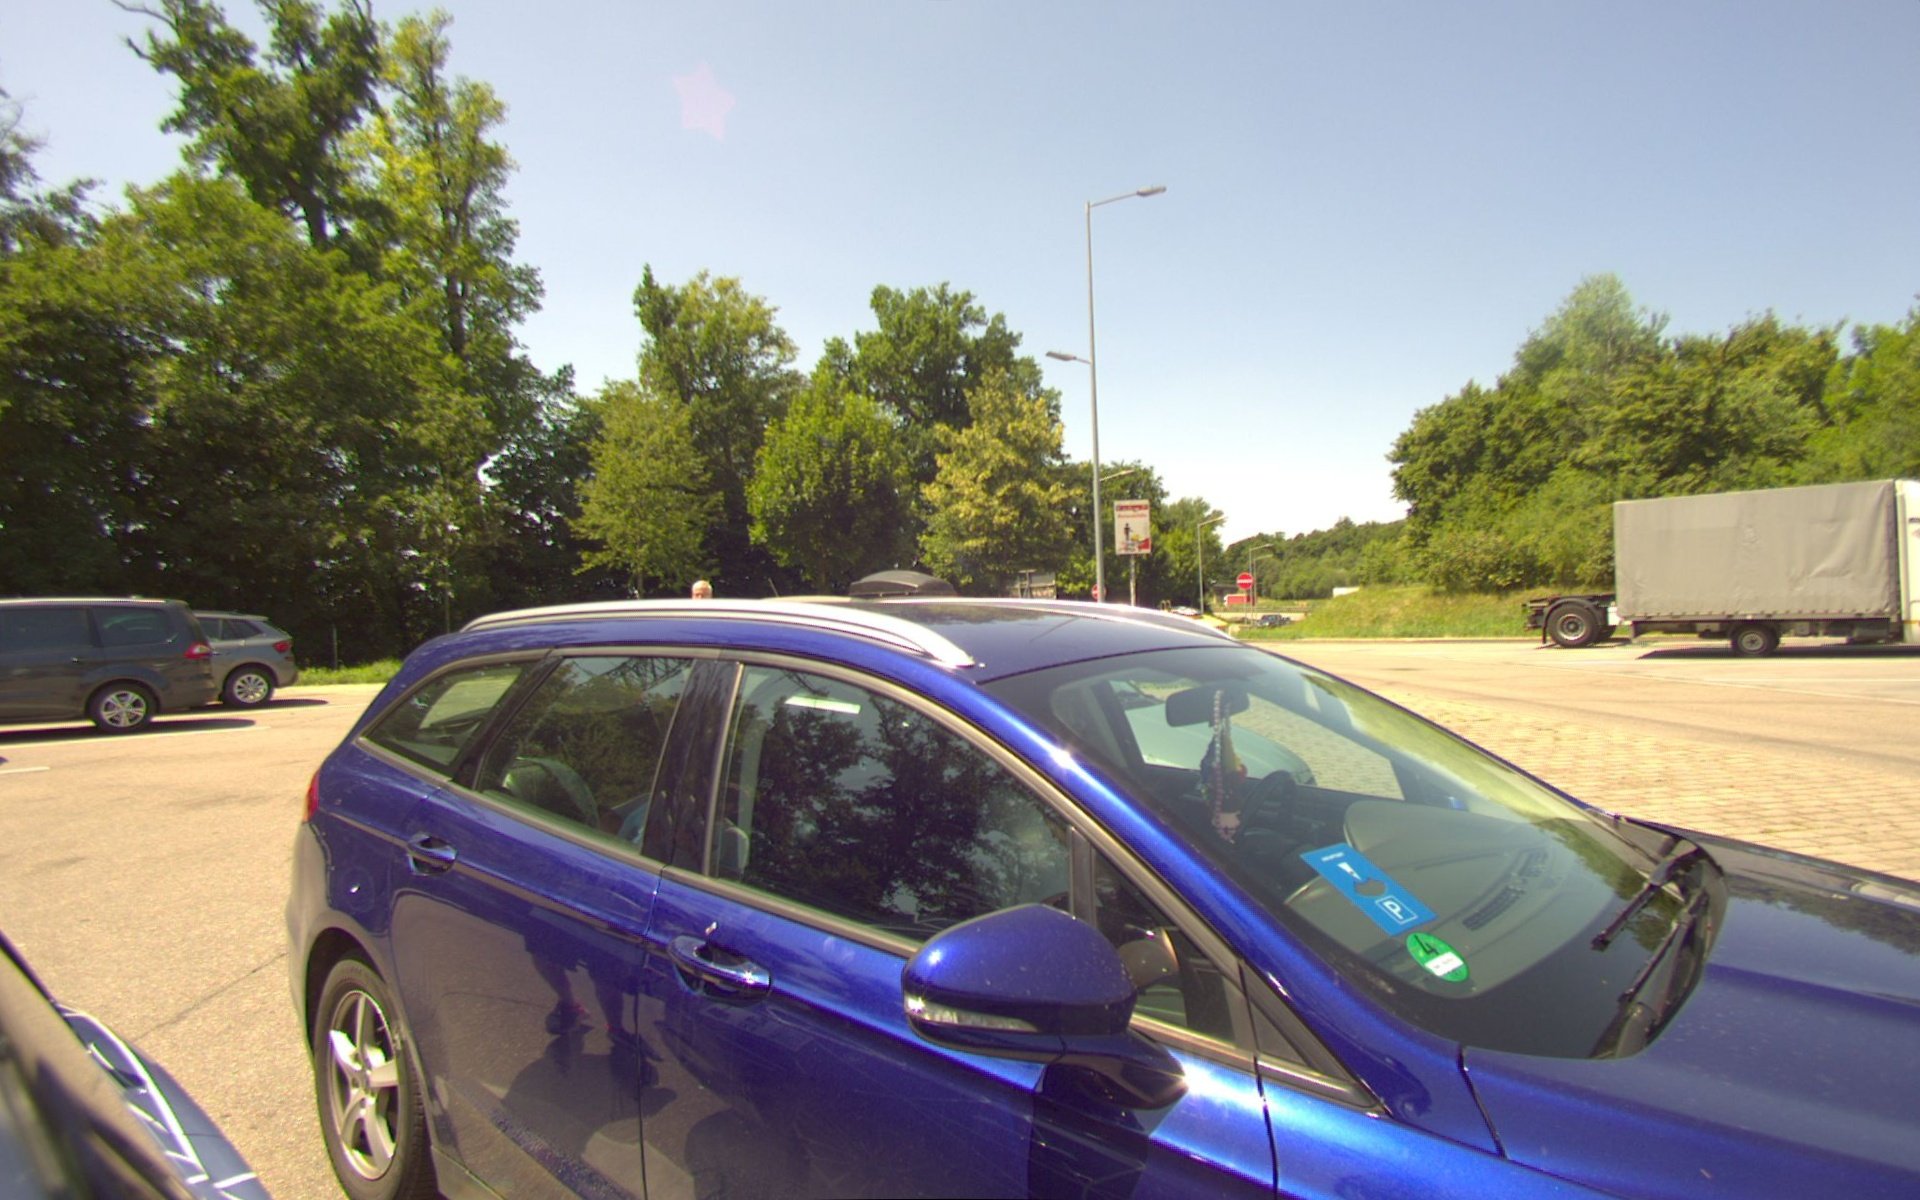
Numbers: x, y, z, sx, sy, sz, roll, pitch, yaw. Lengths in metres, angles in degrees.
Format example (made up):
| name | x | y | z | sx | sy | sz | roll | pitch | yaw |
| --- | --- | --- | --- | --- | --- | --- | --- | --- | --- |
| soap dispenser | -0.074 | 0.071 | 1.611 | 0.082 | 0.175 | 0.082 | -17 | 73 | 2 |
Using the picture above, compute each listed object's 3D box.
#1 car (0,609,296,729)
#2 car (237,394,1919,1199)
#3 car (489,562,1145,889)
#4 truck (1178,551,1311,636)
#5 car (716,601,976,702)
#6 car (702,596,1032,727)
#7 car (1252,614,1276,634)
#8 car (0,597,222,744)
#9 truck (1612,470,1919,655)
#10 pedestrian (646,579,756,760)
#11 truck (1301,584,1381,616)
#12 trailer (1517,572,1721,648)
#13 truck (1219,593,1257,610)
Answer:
| name | x | y | z | sx | sy | sz | roll | pitch | yaw |
| --- | --- | --- | --- | --- | --- | --- | --- | --- | --- |
| car | -12.721 | 0.979 | 15.608 | 3.910 | 1.598 | 1.782 | -1 | -1 | -43 |
| car | 0.232 | 0.637 | 2.104 | 4.466 | 1.476 | 1.756 | -3 | -1 | 40 |
| car | -1.196 | 0.636 | 6.704 | 4.466 | 1.476 | 1.756 | -3 | -1 | 40 |
| truck | 13.318 | -0.239 | 47.424 | 5.782 | 3.720 | 1.987 | -2 | -1 | 20 |
| car | -2.022 | 0.835 | 17.088 | 4.466 | 1.476 | 1.756 | -3 | -1 | 40 |
| car | -1.370 | 0.764 | 13.535 | 4.466 | 1.476 | 1.756 | -3 | -1 | 40 |
| car | 24.208 | 1.890 | 80.494 | 1.700 | 1.547 | 3.830 | -2 | -1 | 18 |
| car | -11.692 | 0.854 | 12.558 | 3.910 | 1.701 | 1.782 | -1 | -1 | -43 |
| truck | 16.741 | -0.635 | 18.855 | 7.347 | 3.152 | 2.339 | -3 | -2 | 41 |
| pedestrian | -2.437 | 0.626 | 9.517 | 0.759 | 1.614 | 0.663 | -3 | -1 | 41 |
| truck | 50.077 | 0.088 | 133.671 | 2.851 | 3.859 | 15.627 | -2 | -1 | -7 |
| trailer | 15.768 | 0.282 | 24.326 | 3.900 | 1.674 | 1.456 | -2 | -1 | 41 |
| truck | 67.102 | 0.464 | 244.473 | 3.218 | 3.859 | 15.624 | -1 | -1 | -6 |
